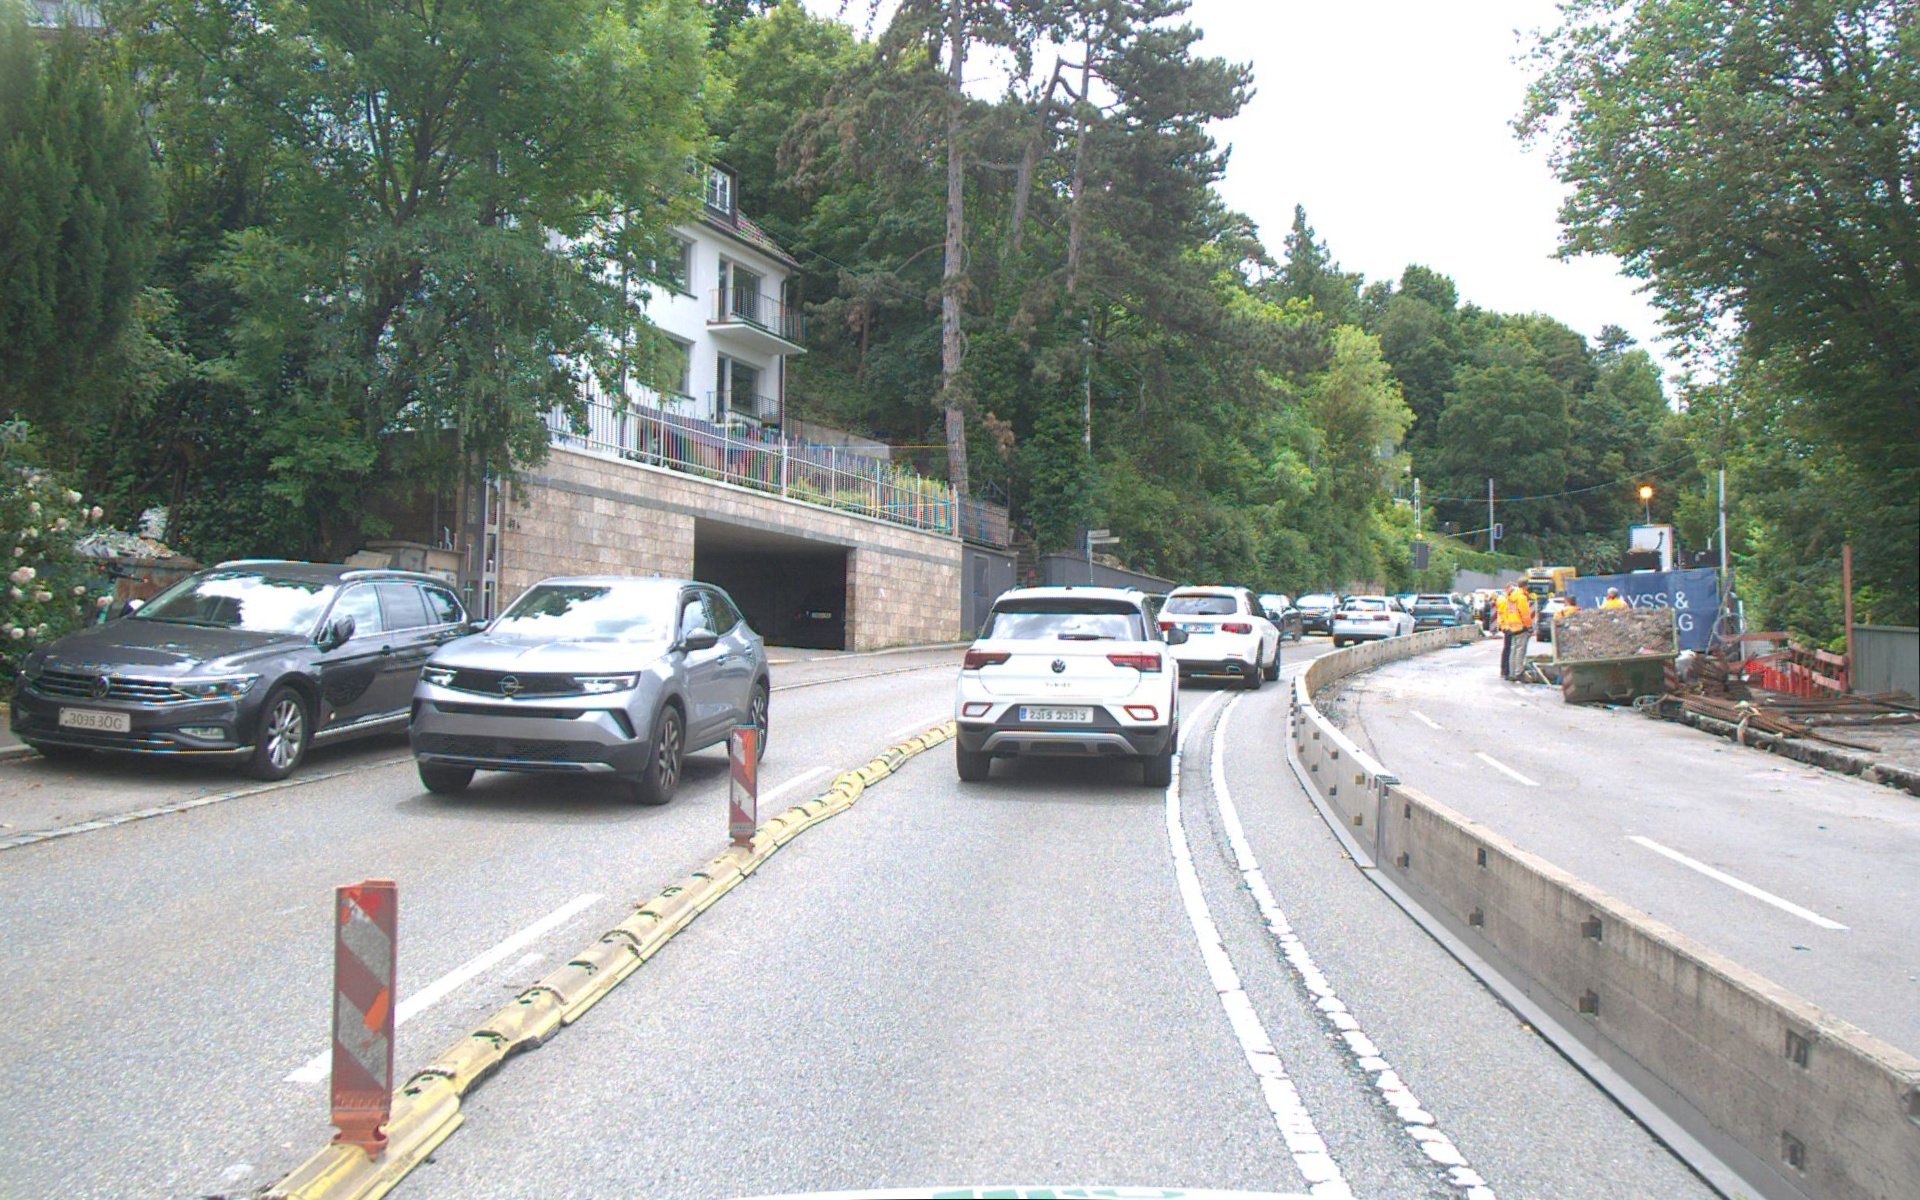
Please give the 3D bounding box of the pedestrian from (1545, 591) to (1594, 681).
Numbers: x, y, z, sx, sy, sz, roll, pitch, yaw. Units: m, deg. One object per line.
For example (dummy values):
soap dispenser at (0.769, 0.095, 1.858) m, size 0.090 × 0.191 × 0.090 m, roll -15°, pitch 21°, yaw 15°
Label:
pedestrian at (11.330, 0.658, 30.718) m, size 0.767 × 1.636 × 0.666 m, roll 1°, pitch 0°, yaw 28°

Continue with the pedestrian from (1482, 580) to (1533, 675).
pedestrian at (10.885, 0.541, 32.923) m, size 0.857 × 1.854 × 0.879 m, roll 1°, pitch 0°, yaw 11°

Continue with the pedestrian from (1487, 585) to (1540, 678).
pedestrian at (10.707, 0.594, 32.020) m, size 0.857 × 1.761 × 0.879 m, roll 1°, pitch 0°, yaw 11°

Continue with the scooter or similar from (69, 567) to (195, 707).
scooter or similar at (-7.801, 0.339, 15.620) m, size 0.407 × 1.253 × 1.122 m, roll 3°, pitch 0°, yaw 10°

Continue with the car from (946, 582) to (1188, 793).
car at (1.076, 0.646, 14.529) m, size 1.771 × 1.558 × 4.003 m, roll 1°, pitch 0°, yaw 9°

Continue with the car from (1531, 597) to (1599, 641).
car at (19.964, 0.598, 54.474) m, size 1.759 × 1.392 × 3.997 m, roll 0°, pitch 0°, yaw 25°

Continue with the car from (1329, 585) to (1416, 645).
car at (12.119, 0.412, 48.414) m, size 1.774 × 1.692 × 3.998 m, roll 0°, pitch 0°, yaw 25°

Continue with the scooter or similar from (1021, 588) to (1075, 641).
scooter or similar at (2.182, 0.356, 41.242) m, size 1.282 × 1.277 × 0.467 m, roll 1°, pitch 0°, yaw -3°

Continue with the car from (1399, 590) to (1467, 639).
car at (17.009, 0.484, 59.370) m, size 1.774 × 1.692 × 3.998 m, roll 0°, pitch 0°, yaw 25°

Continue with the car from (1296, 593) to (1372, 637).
car at (13.460, 0.519, 59.361) m, size 1.732 × 1.477 × 4.306 m, roll 2°, pitch 1°, yaw 25°

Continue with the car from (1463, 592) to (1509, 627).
car at (26.847, 0.463, 84.390) m, size 1.774 × 1.692 × 3.998 m, roll 0°, pitch 0°, yaw 25°

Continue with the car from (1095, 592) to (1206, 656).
car at (4.701, 0.549, 40.277) m, size 1.731 × 1.460 × 4.309 m, roll 1°, pitch 0°, yaw 20°

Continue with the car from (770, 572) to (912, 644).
car at (-2.679, 0.216, 38.067) m, size 1.745 × 1.478 × 3.701 m, roll 2°, pitch -2°, yaw 22°

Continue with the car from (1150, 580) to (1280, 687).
car at (4.430, 0.517, 28.286) m, size 1.771 × 1.692 × 4.003 m, roll 0°, pitch 0°, yaw 15°

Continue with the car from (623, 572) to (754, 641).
car at (-6.254, 0.188, 38.501) m, size 1.733 × 1.444 × 3.547 m, roll 2°, pitch -1°, yaw 13°

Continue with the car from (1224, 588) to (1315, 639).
car at (9.777, 0.418, 52.025) m, size 1.733 × 1.460 × 4.305 m, roll 2°, pitch 1°, yaw 25°

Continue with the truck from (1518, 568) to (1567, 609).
truck at (46.935, -0.904, 133.152) m, size 2.847 × 3.210 × 7.577 m, roll 0°, pitch 0°, yaw 26°

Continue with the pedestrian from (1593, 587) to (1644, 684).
pedestrian at (11.982, 0.632, 30.083) m, size 0.767 × 1.717 × 0.784 m, roll 1°, pitch 0°, yaw 27°

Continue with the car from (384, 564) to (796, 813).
car at (-2.610, 0.557, 12.706) m, size 1.730 × 1.544 × 4.029 m, roll 2°, pitch 0°, yaw 8°

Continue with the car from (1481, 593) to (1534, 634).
car at (23.609, 0.571, 71.247) m, size 1.774 × 1.692 × 3.998 m, roll 0°, pitch 0°, yaw 25°

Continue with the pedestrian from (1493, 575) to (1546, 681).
pedestrian at (10.444, 0.513, 30.889) m, size 0.676 × 1.940 × 0.825 m, roll 1°, pitch 0°, yaw -1°

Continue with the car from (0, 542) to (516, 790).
car at (-5.261, 0.423, 12.997) m, size 1.699 × 1.476 × 4.687 m, roll 4°, pitch 0°, yaw 7°
